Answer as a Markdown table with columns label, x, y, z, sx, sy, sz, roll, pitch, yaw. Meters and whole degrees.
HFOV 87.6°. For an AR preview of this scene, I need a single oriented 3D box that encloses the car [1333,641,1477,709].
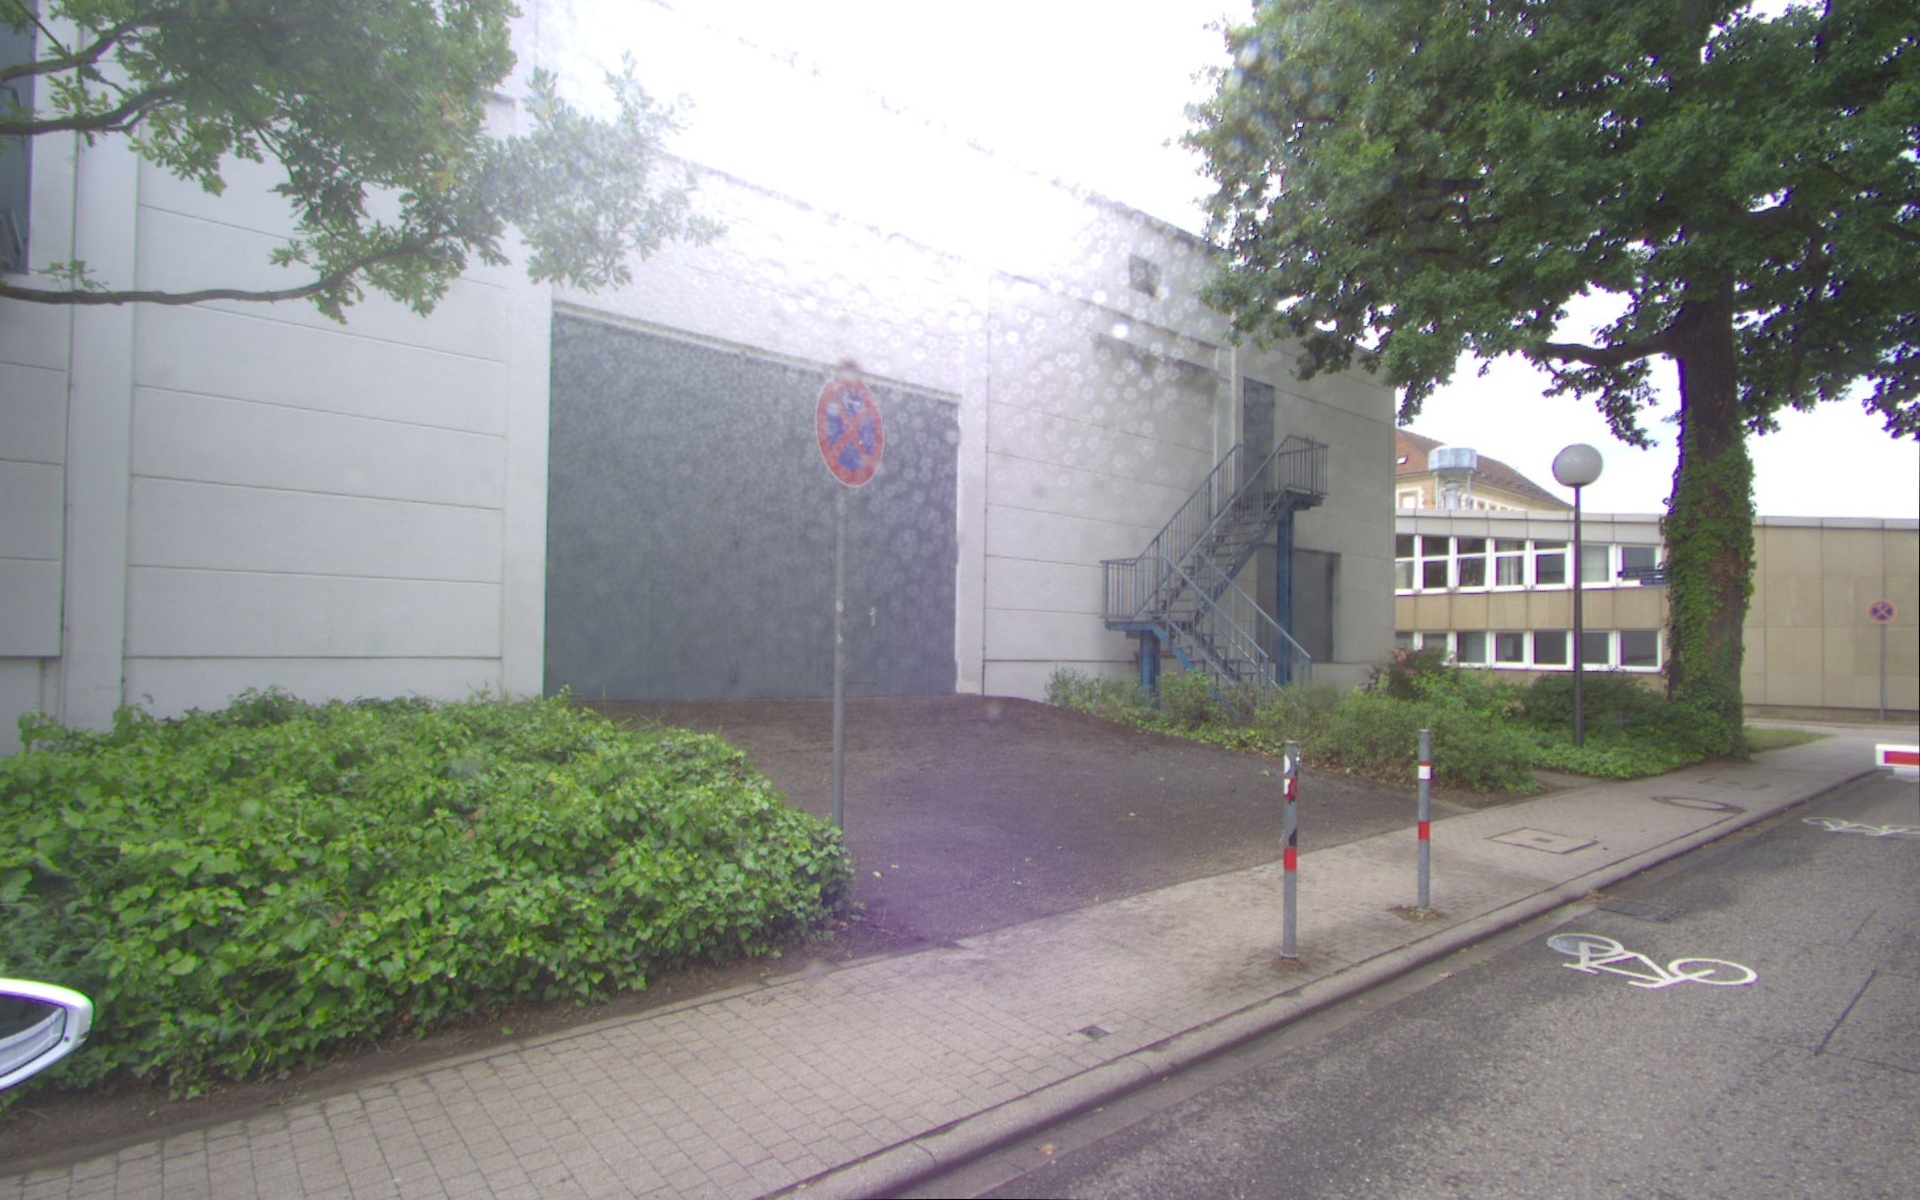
| label | x | y | z | sx | sy | sz | roll | pitch | yaw |
| --- | --- | --- | --- | --- | --- | --- | --- | --- | --- |
| car | 11.394 | 1.864 | 25.530 | 3.958 | 1.549 | 1.853 | 3 | -2 | -41 |
